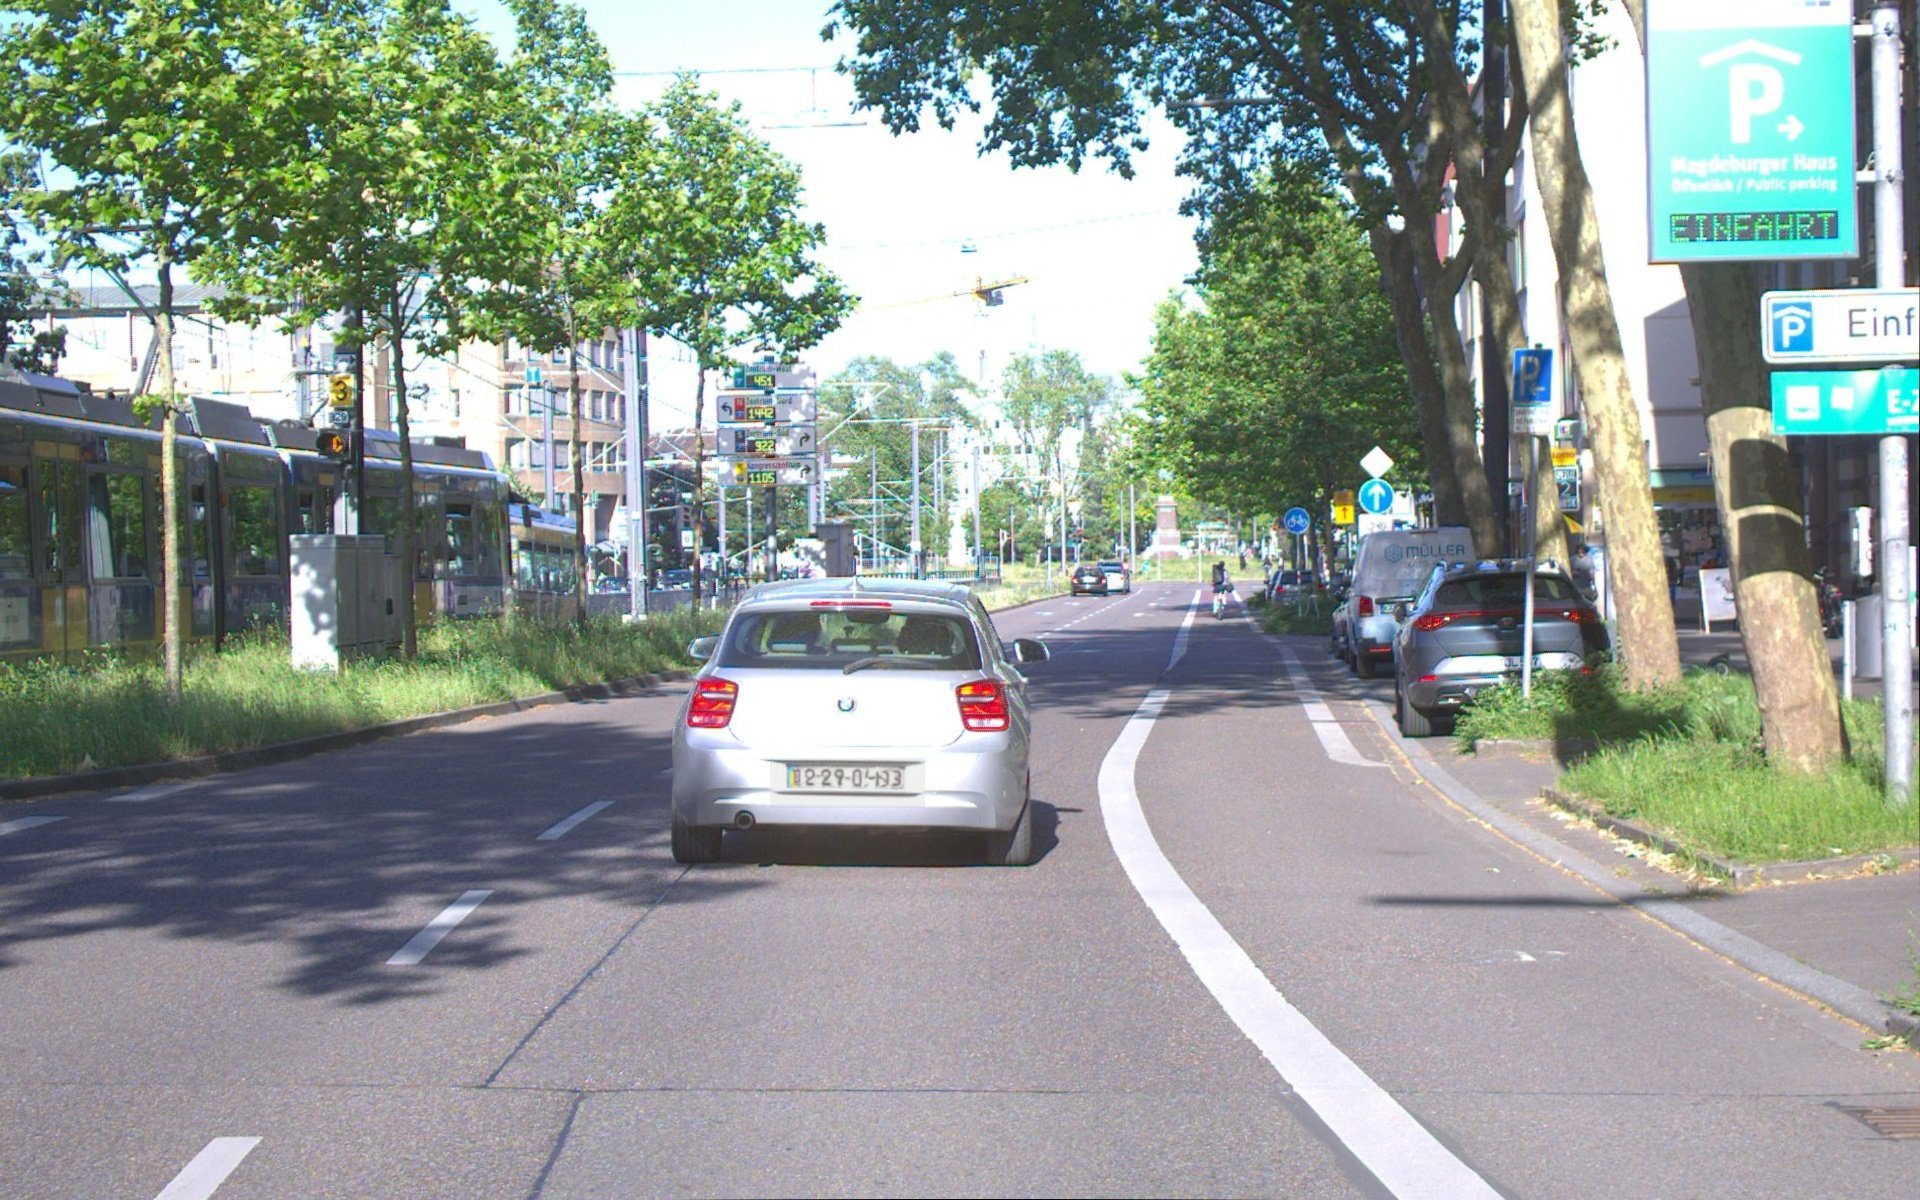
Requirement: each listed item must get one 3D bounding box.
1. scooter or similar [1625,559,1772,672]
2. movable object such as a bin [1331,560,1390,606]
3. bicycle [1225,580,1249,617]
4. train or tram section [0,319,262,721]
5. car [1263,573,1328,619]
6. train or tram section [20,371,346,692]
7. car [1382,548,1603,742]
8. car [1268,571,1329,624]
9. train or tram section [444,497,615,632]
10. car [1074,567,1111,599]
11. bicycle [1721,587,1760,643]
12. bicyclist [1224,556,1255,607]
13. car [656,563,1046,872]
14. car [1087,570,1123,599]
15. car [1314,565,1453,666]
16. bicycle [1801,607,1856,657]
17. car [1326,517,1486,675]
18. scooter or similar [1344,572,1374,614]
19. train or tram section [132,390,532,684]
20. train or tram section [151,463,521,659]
[{"bbox_3d":[8.228,0.170,38.329,1.541,1.233,0.449,-1,0,5],"label":"scooter or similar"},{"bbox_3d":[16.520,-0.707,141.981,1.945,1.837,3.480,-1,1,-1],"label":"movable object such as a bin"},{"bbox_3d":[8.308,-0.059,103.213,0.499,1.085,1.997,1,0,-2],"label":"bicycle"},{"bbox_3d":[-10.427,-0.787,35.211,2.929,3.799,14.272,1,0,3],"label":"train or tram section"},{"bbox_3d":[11.038,-0.144,113.280,2.039,1.504,4.593,0,0,4],"label":"car"},{"bbox_3d":[-9.900,-0.848,44.178,2.955,3.884,3.865,1,0,5],"label":"train or tram section"},{"bbox_3d":[4.662,0.366,30.542,1.668,1.565,4.279,1,0,6],"label":"car"},{"bbox_3d":[10.383,-0.094,105.716,1.695,1.497,3.801,-3,0,4],"label":"car"},{"bbox_3d":[-11.745,-0.977,94.996,2.961,3.472,11.286,1,0,2],"label":"train or tram section"},{"bbox_3d":[6.214,-0.805,161.842,1.726,1.465,4.410,0,0,2],"label":"car"},{"bbox_3d":[14.214,0.270,62.609,0.414,0.994,1.882,0,0,4],"label":"bicycle"},{"bbox_3d":[8.380,-0.556,103.200,0.785,1.526,0.895,1,0,-2],"label":"bicyclist"},{"bbox_3d":[-0.575,0.545,18.123,1.798,1.410,4.000,1,0,-2],"label":"car"},{"bbox_3d":[7.182,-0.751,170.085,1.645,1.416,3.999,1,0,4],"label":"car"},{"bbox_3d":[6.770,0.228,55.341,1.818,1.510,4.707,1,0,3],"label":"car"},{"bbox_3d":[13.933,0.506,55.171,0.549,0.771,1.662,-2,0,4],"label":"bicycle"},{"bbox_3d":[6.044,-0.056,46.997,1.856,2.007,4.723,1,0,4],"label":"car"},{"bbox_3d":[11.399,-0.200,98.116,0.379,1.192,1.573,-1,0,24],"label":"scooter or similar"},{"bbox_3d":[-9.104,-0.853,51.474,2.953,3.884,10.800,1,0,6],"label":"train or tram section"},{"bbox_3d":[-12.589,-0.792,72.518,2.964,3.472,21.216,1,1,3],"label":"train or tram section"}]
